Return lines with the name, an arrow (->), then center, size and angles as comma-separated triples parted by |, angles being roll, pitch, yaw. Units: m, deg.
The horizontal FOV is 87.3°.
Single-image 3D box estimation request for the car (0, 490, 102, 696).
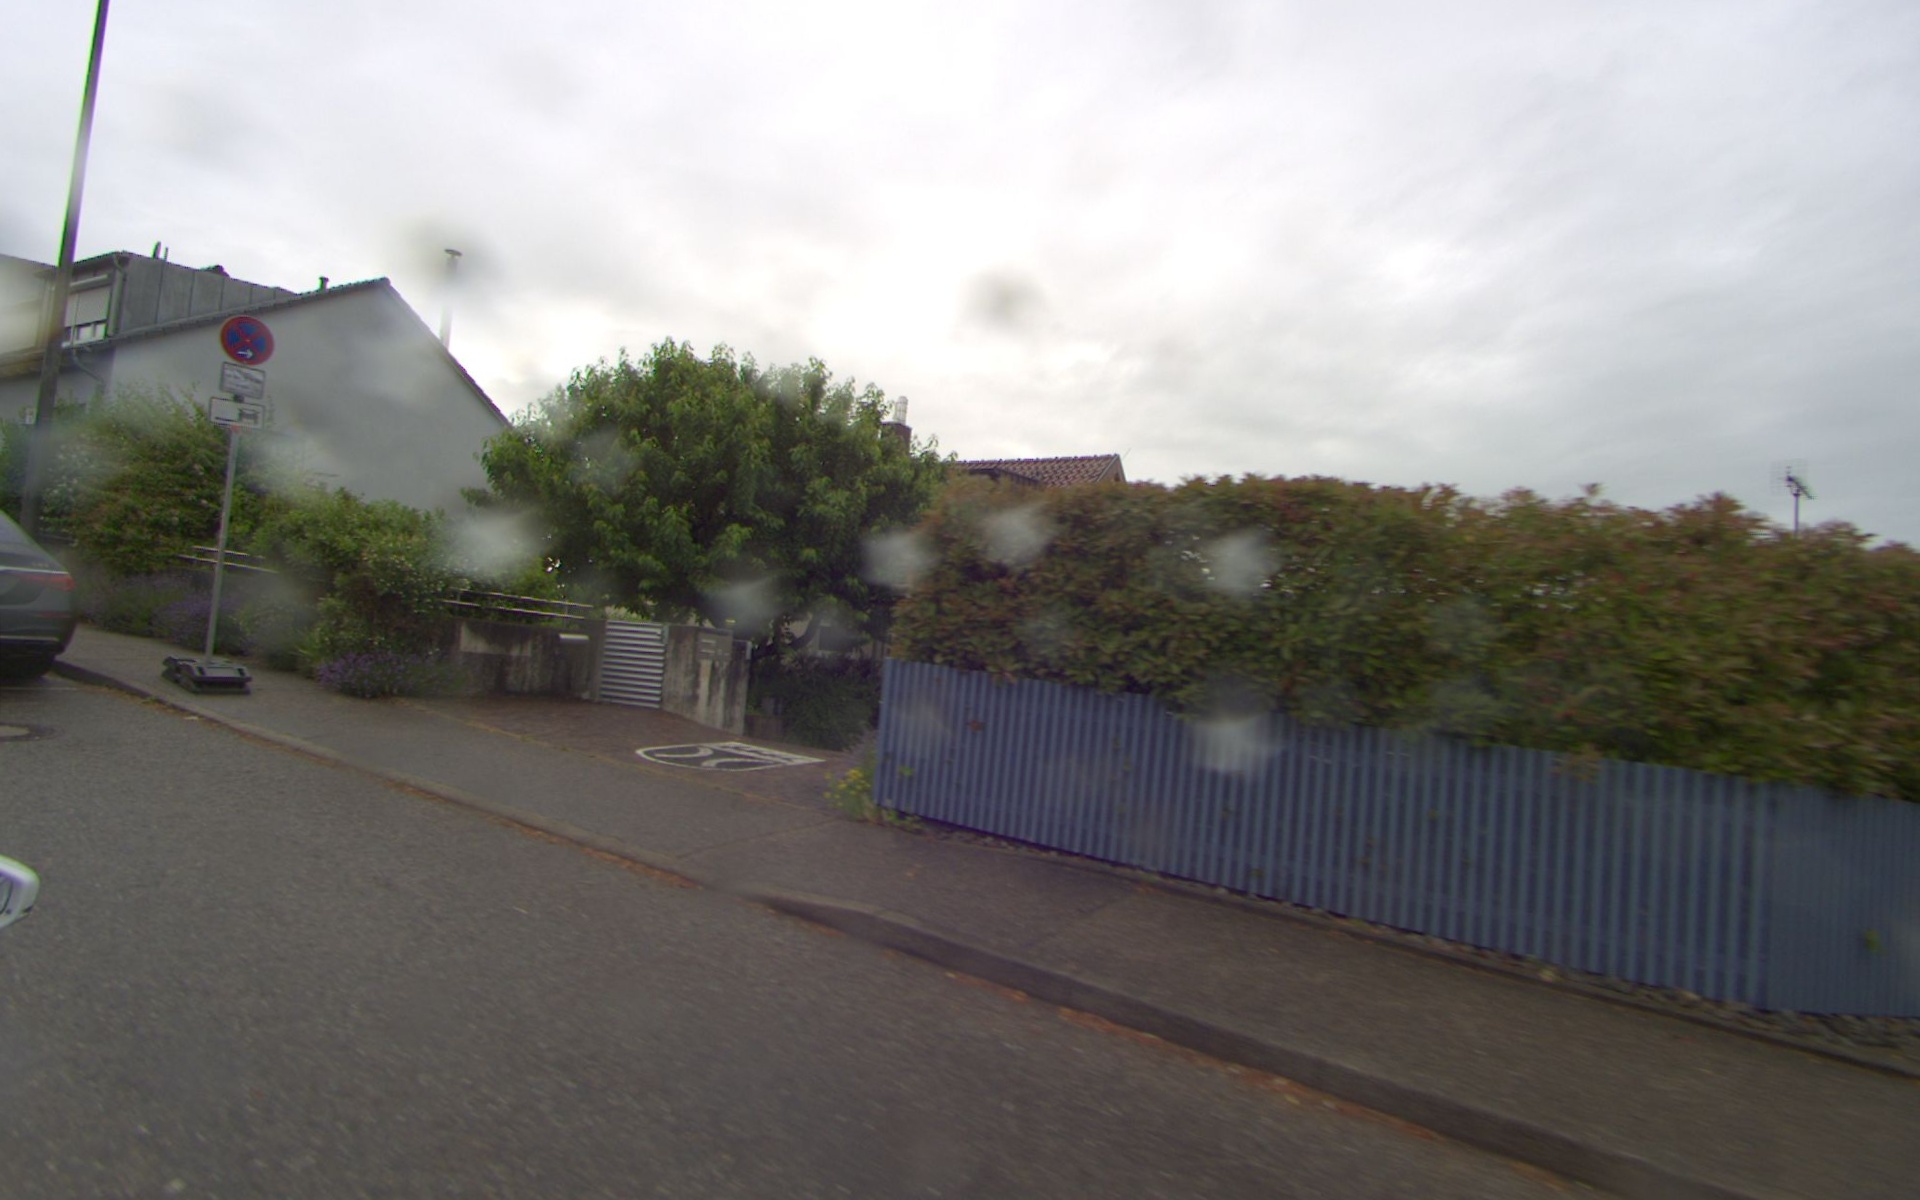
car -> -9.538, -0.325, 8.496 | 4.978, 1.546, 1.860 | 7, 0, 30
